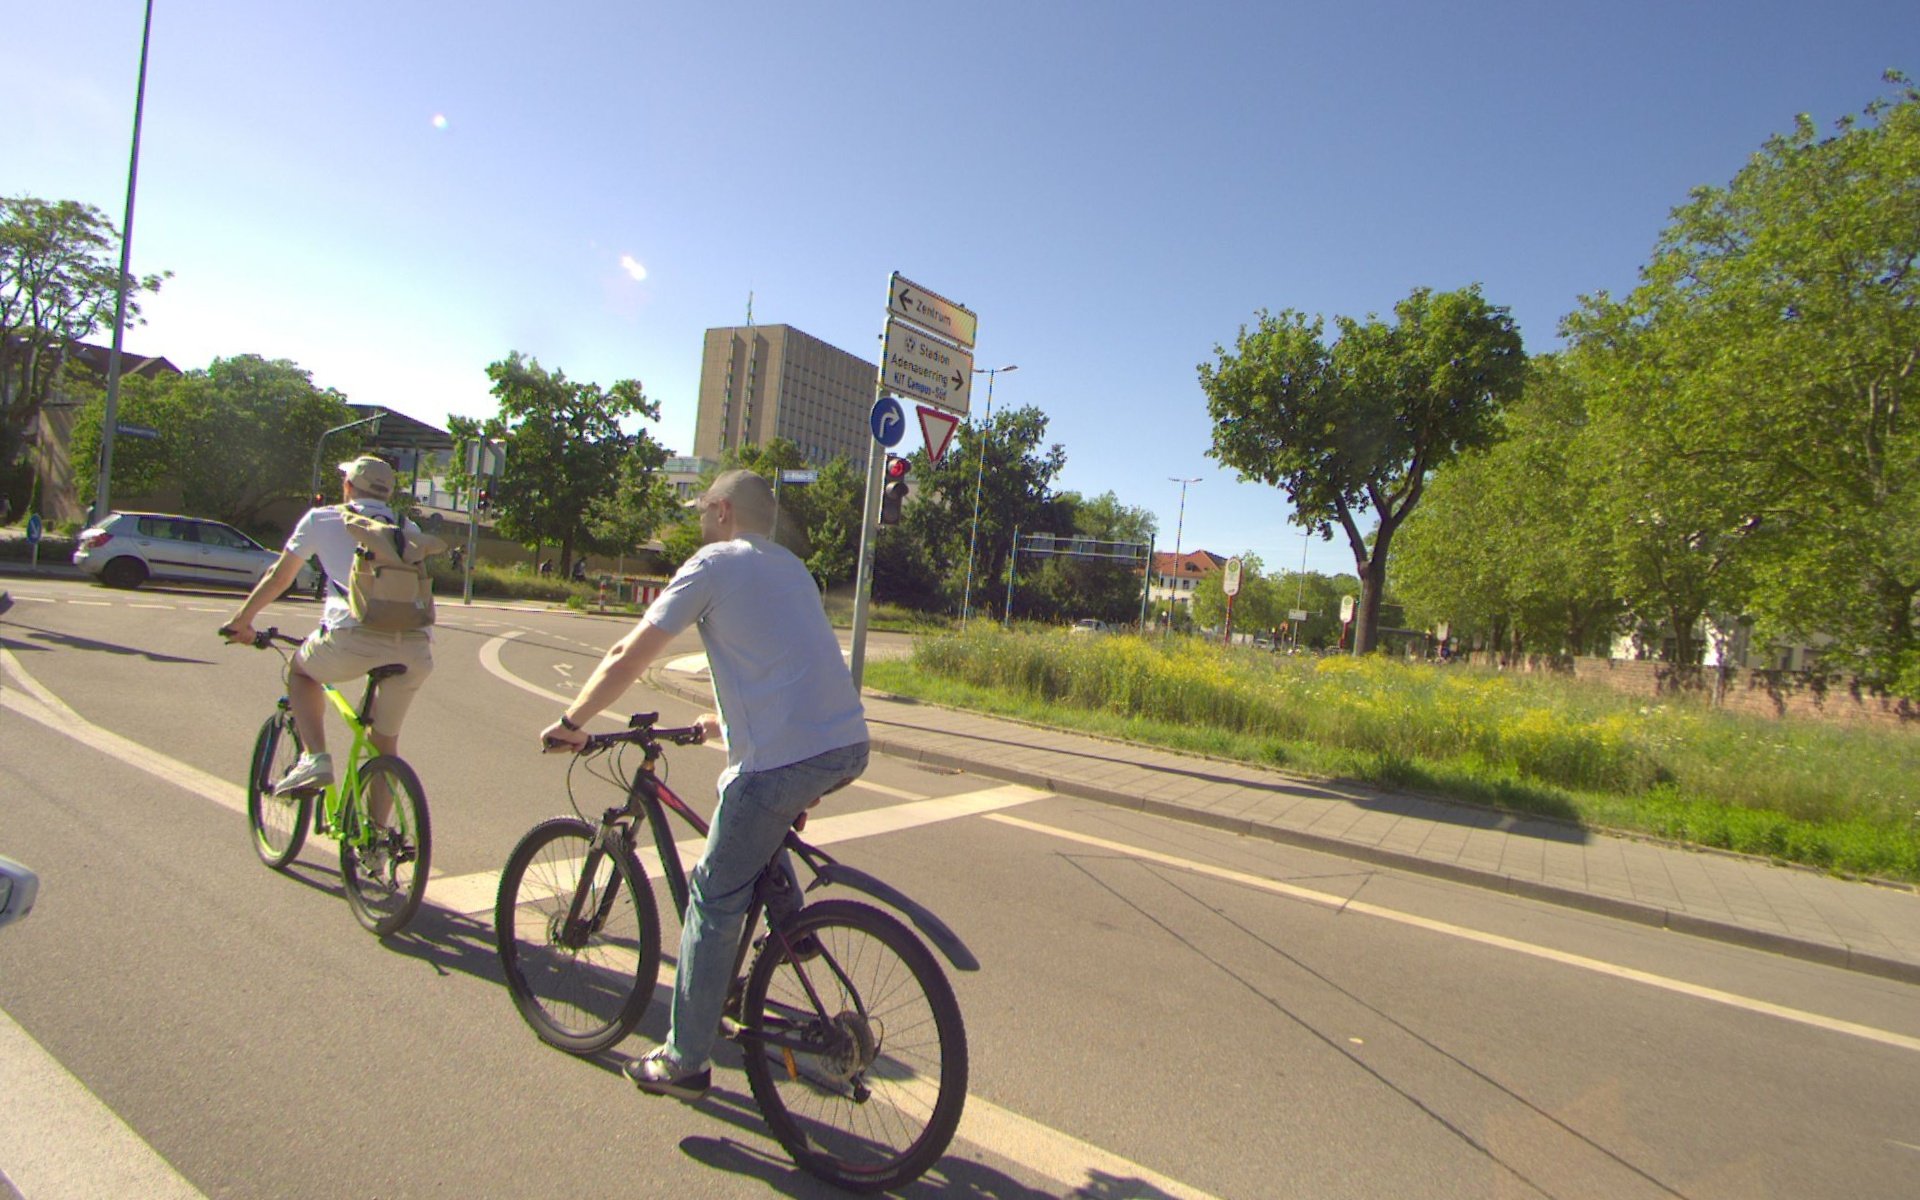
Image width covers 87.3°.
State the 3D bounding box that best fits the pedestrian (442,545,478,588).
[{"bbox_3d":[-22.169,-1.484,44.620,0.912,1.754,0.962,7,1,37],"label":"pedestrian"}]

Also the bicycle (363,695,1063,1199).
[{"bbox_3d":[-0.764,0.942,2.879,1.871,1.064,0.748,6,1,30],"label":"bicycle"}]

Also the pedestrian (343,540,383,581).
[{"bbox_3d":[-24.345,-1.604,41.021,0.917,1.540,1.083,7,1,41],"label":"pedestrian"}]

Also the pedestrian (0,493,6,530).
[{"bbox_3d":[-47.225,-4.357,48.901,0.968,1.763,0.953,7,1,32],"label":"pedestrian"}]

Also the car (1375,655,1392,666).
[{"bbox_3d":[74.322,10.652,176.466,1.892,1.625,4.072,7,0,35],"label":"car"}]

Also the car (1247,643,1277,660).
[{"bbox_3d":[34.817,5.902,115.922,1.968,1.625,4.506,7,0,33],"label":"car"}]

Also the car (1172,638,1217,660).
[{"bbox_3d":[21.279,4.479,91.207,1.909,1.613,4.860,7,0,38],"label":"car"}]

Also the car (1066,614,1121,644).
[{"bbox_3d":[9.270,2.019,69.521,1.882,1.625,4.124,7,0,37],"label":"car"}]

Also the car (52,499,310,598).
[{"bbox_3d":[-15.621,-0.962,20.283,1.869,1.419,3.835,3,-4,45],"label":"car"}]

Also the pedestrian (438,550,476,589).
[{"bbox_3d":[-21.680,-1.307,43.328,0.865,1.540,1.074,7,1,36],"label":"pedestrian"}]

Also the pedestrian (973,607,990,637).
[{"bbox_3d":[1.661,1.712,77.286,0.633,2.194,0.912,7,1,35],"label":"pedestrian"}]

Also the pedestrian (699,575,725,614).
[{"bbox_3d":[-13.972,-0.314,56.690,0.800,2.106,0.896,7,1,35],"label":"pedestrian"}]

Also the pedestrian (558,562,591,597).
[{"bbox_3d":[-19.038,-1.012,49.708,0.865,1.540,1.144,7,1,35],"label":"pedestrian"}]

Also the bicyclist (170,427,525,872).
[{"bbox_3d":[-2.539,0.161,4.177,1.063,1.601,0.675,7,-1,31],"label":"bicyclist"}]

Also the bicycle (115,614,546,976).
[{"bbox_3d":[-2.668,0.708,4.207,1.813,1.063,0.672,6,-1,31],"label":"bicycle"}]

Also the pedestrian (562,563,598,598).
[{"bbox_3d":[-18.587,-0.956,49.210,0.975,1.540,1.129,7,1,35],"label":"pedestrian"}]

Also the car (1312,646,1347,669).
[{"bbox_3d":[29.384,4.596,79.934,1.714,1.535,3.990,7,0,33],"label":"car"}]

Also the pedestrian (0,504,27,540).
[{"bbox_3d":[-46.397,-3.817,49.052,1.156,1.633,0.936,7,1,32],"label":"pedestrian"}]

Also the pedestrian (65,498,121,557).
[{"bbox_3d":[-30.618,-2.546,35.512,0.953,1.879,1.294,7,1,43],"label":"pedestrian"}]

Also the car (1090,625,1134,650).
[{"bbox_3d":[11.905,2.956,78.566,1.806,1.590,3.990,7,0,33],"label":"car"}]

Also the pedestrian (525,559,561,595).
[{"bbox_3d":[-19.629,-1.080,47.393,0.927,1.540,1.145,7,1,38],"label":"pedestrian"}]

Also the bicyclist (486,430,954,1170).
[{"bbox_3d":[-0.655,0.450,2.835,0.851,1.695,0.741,7,1,30],"label":"bicyclist"}]
